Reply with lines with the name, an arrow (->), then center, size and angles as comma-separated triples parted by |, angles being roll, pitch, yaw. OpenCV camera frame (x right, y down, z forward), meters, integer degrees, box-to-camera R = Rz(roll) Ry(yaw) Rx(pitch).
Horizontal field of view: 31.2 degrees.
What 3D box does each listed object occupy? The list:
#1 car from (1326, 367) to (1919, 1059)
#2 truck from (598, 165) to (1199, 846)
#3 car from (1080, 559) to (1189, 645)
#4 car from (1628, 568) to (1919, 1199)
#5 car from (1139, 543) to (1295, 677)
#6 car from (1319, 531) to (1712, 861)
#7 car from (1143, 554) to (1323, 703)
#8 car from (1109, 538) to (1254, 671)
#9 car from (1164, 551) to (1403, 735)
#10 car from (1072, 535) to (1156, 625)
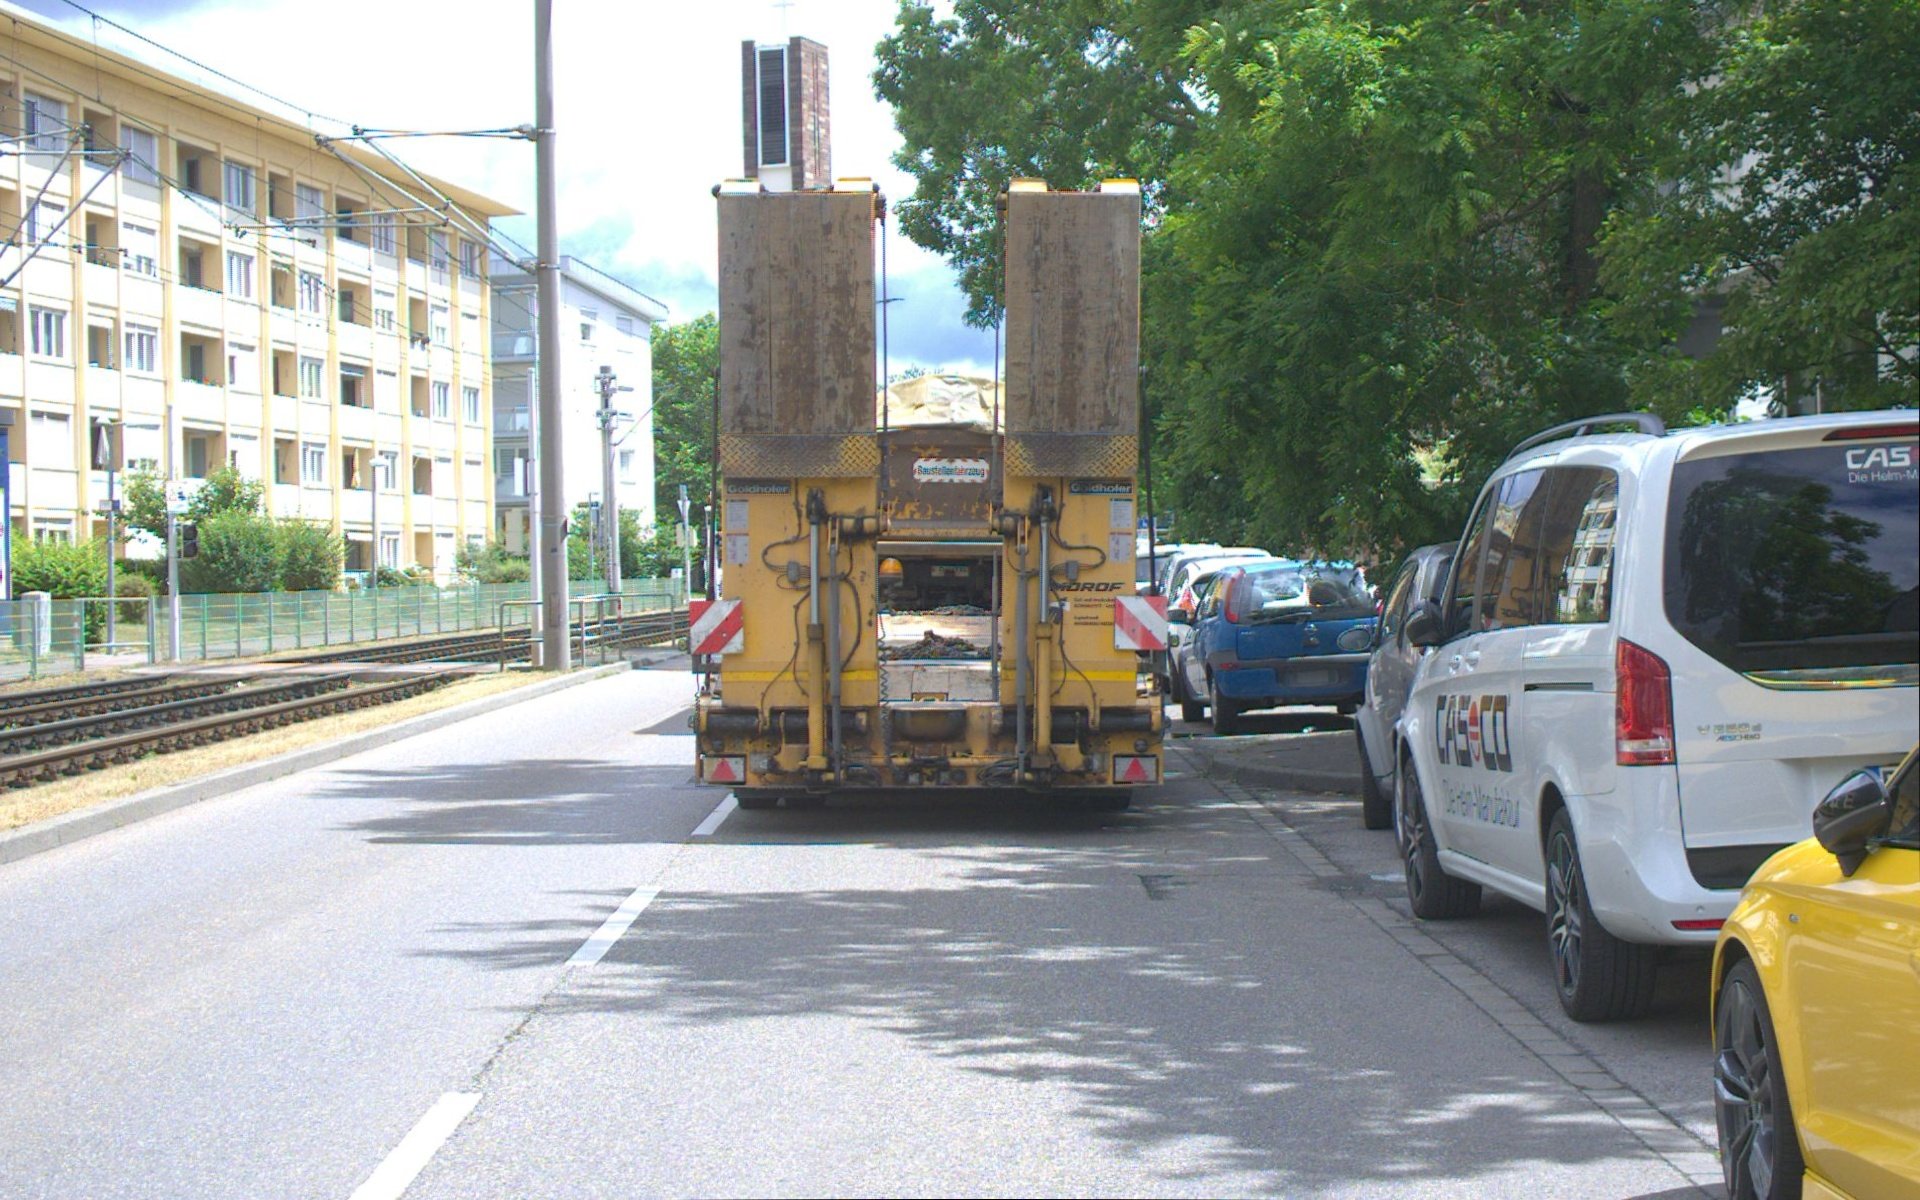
car -> 2.704, 0.265, 12.722 | 1.914, 1.952, 5.745 | -2, 1, -1
truck -> -0.412, -0.607, 24.307 | 3.124, 3.552, 12.460 | -1, 1, -1
car -> 3.109, 0.005, 61.734 | 1.836, 1.400, 4.413 | -2, 1, 2
car -> 2.496, 0.670, 5.920 | 1.755, 1.437, 4.341 | -2, 1, -1
car -> 3.104, 0.084, 41.987 | 1.581, 1.547, 3.475 | -1, 1, -1
car -> 2.828, 0.440, 17.985 | 1.513, 1.528, 2.847 | -2, 1, -1
car -> 2.880, 0.261, 36.850 | 1.645, 1.485, 3.822 | -1, 1, 1
car -> 2.976, 0.014, 46.640 | 1.824, 1.676, 4.575 | -1, 1, 3
car -> 2.777, 0.326, 30.194 | 1.608, 1.451, 3.676 | -2, 1, -2
car -> 3.546, -0.489, 79.876 | 1.799, 1.961, 4.590 | -2, 1, 1
